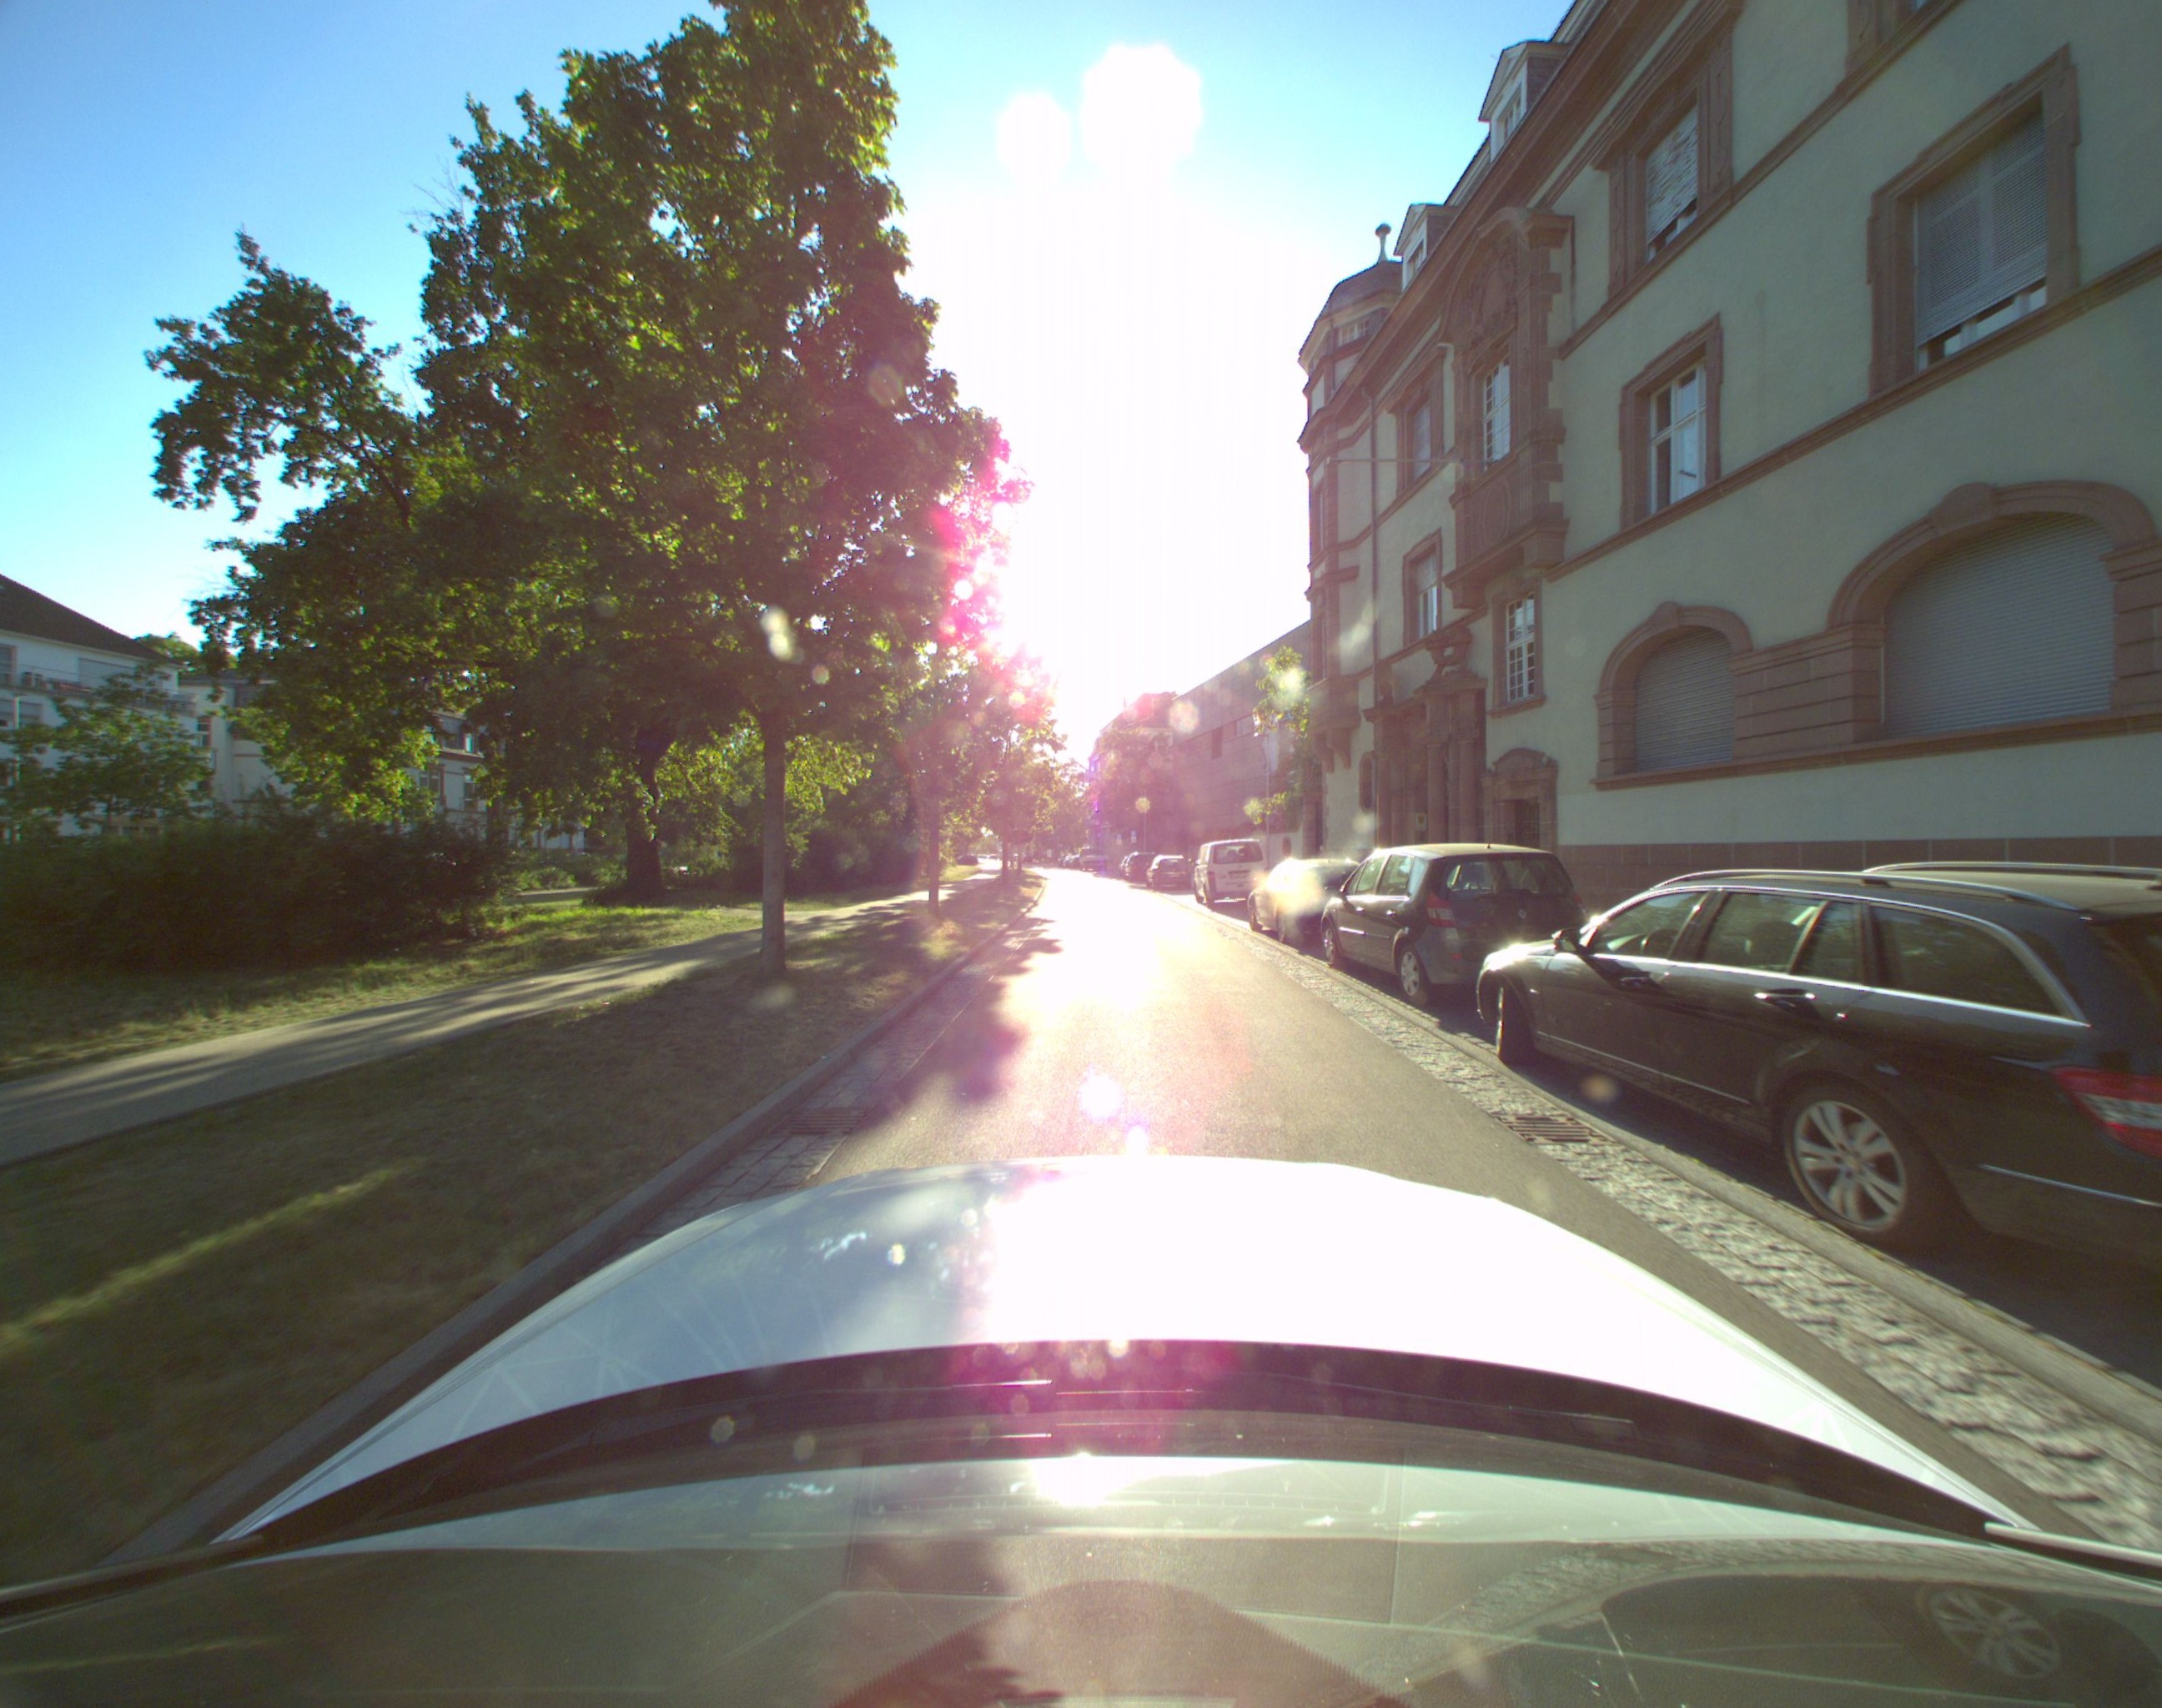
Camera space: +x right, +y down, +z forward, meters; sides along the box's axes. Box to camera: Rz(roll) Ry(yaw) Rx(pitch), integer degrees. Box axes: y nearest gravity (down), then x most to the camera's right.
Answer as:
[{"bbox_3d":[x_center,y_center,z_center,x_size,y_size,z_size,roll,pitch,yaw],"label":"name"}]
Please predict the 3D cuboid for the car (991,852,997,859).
[{"bbox_3d":[-27.619,0.512,257.919,1.992,1.969,3.990,1,0,-7],"label":"car"}]

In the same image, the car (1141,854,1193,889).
[{"bbox_3d":[3.911,0.753,37.795,1.743,1.466,4.473,-2,0,-3],"label":"car"}]

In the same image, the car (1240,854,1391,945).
[{"bbox_3d":[4.214,0.735,15.295,1.673,1.403,4.200,-2,0,1],"label":"car"}]

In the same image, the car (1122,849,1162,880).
[{"bbox_3d":[3.538,0.587,48.180,1.721,1.669,4.107,-2,0,-4],"label":"car"}]

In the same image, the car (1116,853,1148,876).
[{"bbox_3d":[3.375,0.683,54.307,1.720,1.421,3.902,-1,0,-3],"label":"car"}]

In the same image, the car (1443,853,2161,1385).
[{"bbox_3d":[3.975,0.746,4.569,1.865,1.436,4.522,-2,0,0],"label":"car"}]

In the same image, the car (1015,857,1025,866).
[{"bbox_3d":[-12.322,1.505,165.064,1.792,1.724,3.991,0,0,-7],"label":"car"}]

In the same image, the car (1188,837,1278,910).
[{"bbox_3d":[4.656,0.514,25.737,1.986,1.966,4.852,-4,1,2],"label":"car"}]

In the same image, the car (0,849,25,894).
[{"bbox_3d":[-46.143,0.738,32.457,1.984,1.852,4.590,-1,0,5],"label":"car"}]

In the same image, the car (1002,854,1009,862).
[{"bbox_3d":[-20.010,1.070,216.852,1.792,1.999,3.991,0,0,-7],"label":"car"}]

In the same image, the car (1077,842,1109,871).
[{"bbox_3d":[1.075,0.219,77.132,2.209,2.530,6.133,-2,0,-7],"label":"car"}]

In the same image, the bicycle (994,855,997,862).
[{"bbox_3d":[-17.436,0.928,166.165,0.687,1.202,2.341,0,3,-4],"label":"bicycle"}]

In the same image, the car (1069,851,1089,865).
[{"bbox_3d":[-0.273,0.414,88.173,1.690,1.440,3.540,-1,0,-8],"label":"car"}]

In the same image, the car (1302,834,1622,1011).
[{"bbox_3d":[4.156,0.642,9.747,1.810,1.602,4.191,-2,0,-1],"label":"car"}]

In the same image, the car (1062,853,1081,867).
[{"bbox_3d":[-1.106,0.672,93.618,1.690,1.440,4.092,-1,0,-8],"label":"car"}]

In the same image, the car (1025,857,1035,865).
[{"bbox_3d":[-9.448,1.264,151.716,1.790,1.510,3.994,0,0,-4],"label":"car"}]
